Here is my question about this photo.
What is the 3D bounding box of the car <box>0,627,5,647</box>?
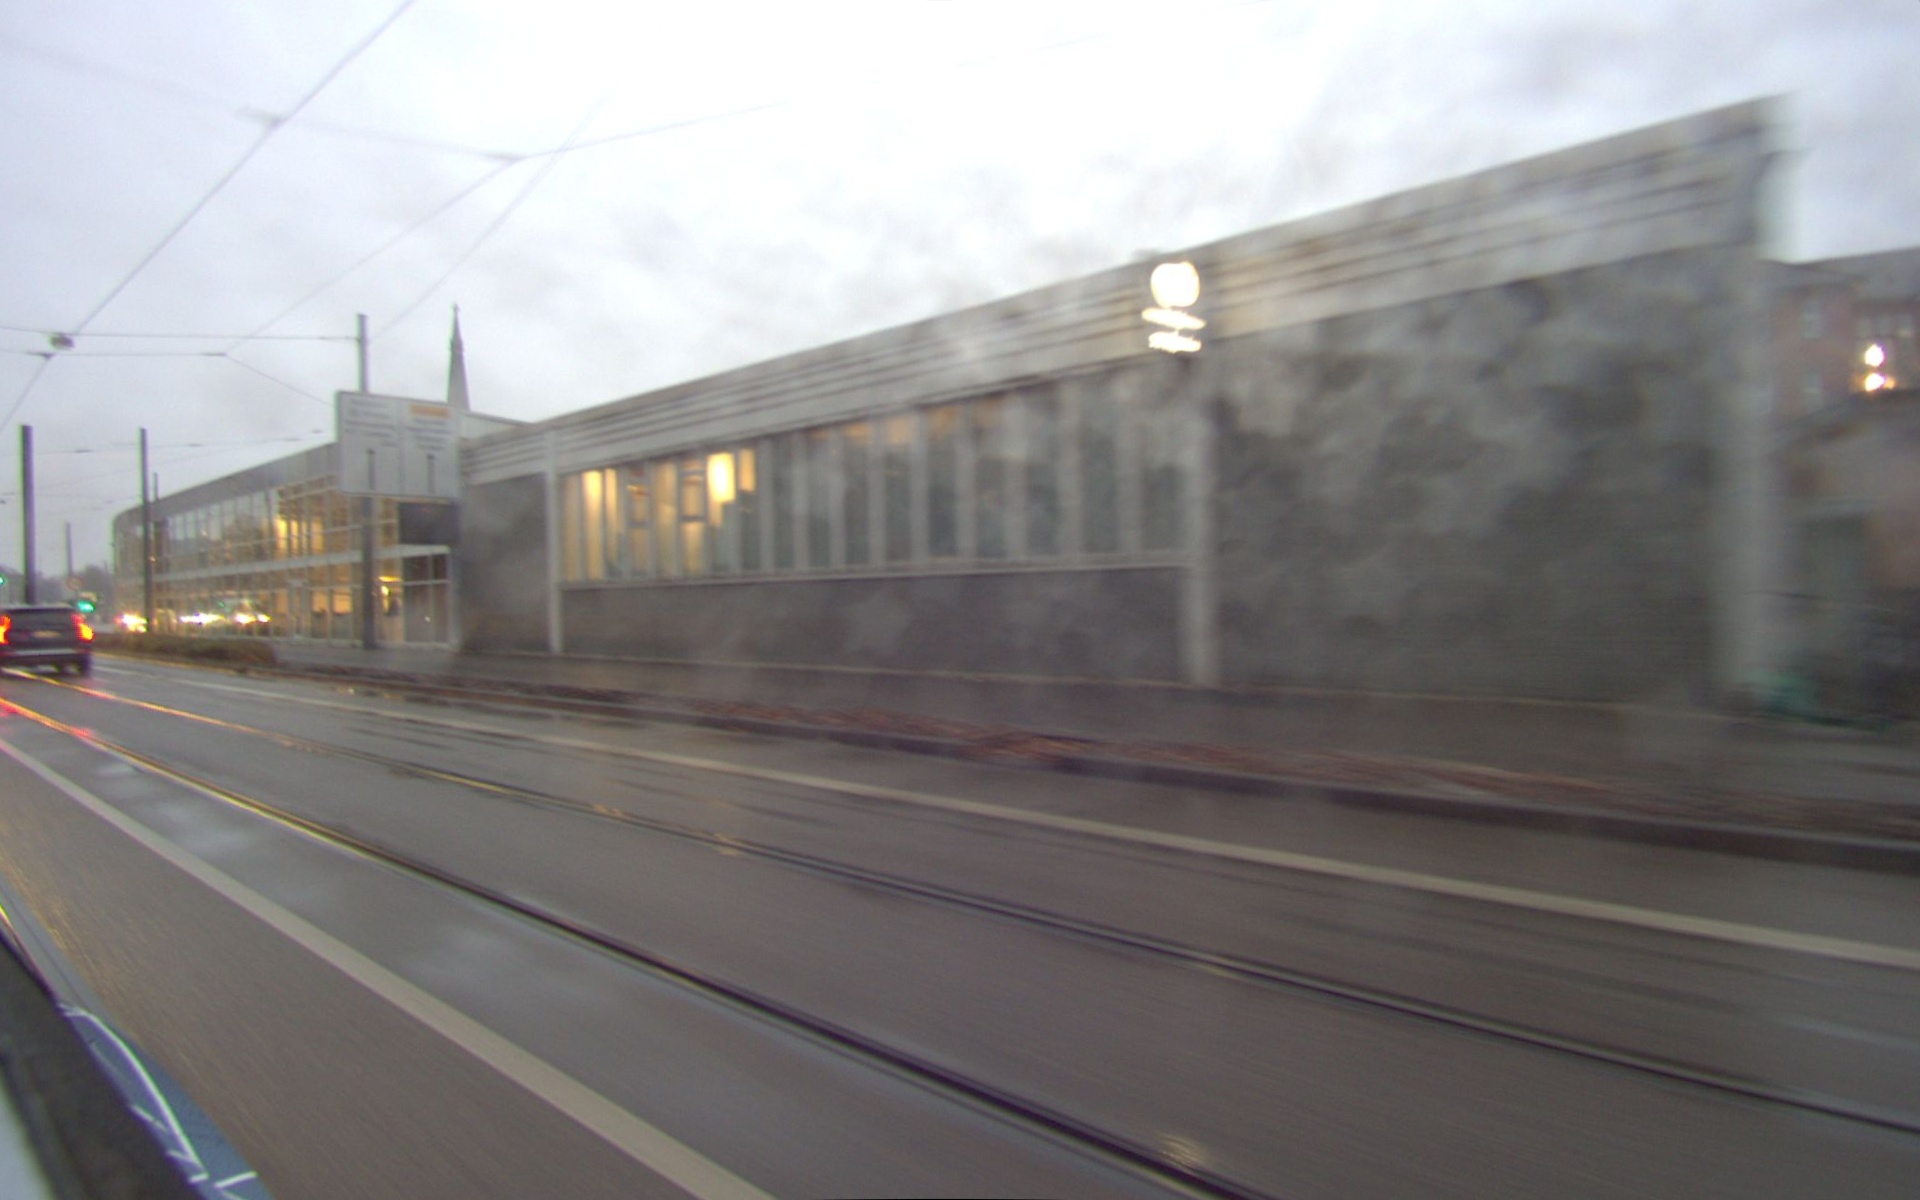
[{"bbox_3d":[-80.705,3.055,83.980,4.441,1.590,1.821,-1,-1,43],"label":"car"}]

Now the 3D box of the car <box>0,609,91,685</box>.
[{"bbox_3d":[-23.195,1.126,25.042,4.757,1.723,1.856,-1,-1,40],"label":"car"}]

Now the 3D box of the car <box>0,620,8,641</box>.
[{"bbox_3d":[-95.012,3.012,99.370,4.686,2.029,1.971,-1,1,44],"label":"car"}]
